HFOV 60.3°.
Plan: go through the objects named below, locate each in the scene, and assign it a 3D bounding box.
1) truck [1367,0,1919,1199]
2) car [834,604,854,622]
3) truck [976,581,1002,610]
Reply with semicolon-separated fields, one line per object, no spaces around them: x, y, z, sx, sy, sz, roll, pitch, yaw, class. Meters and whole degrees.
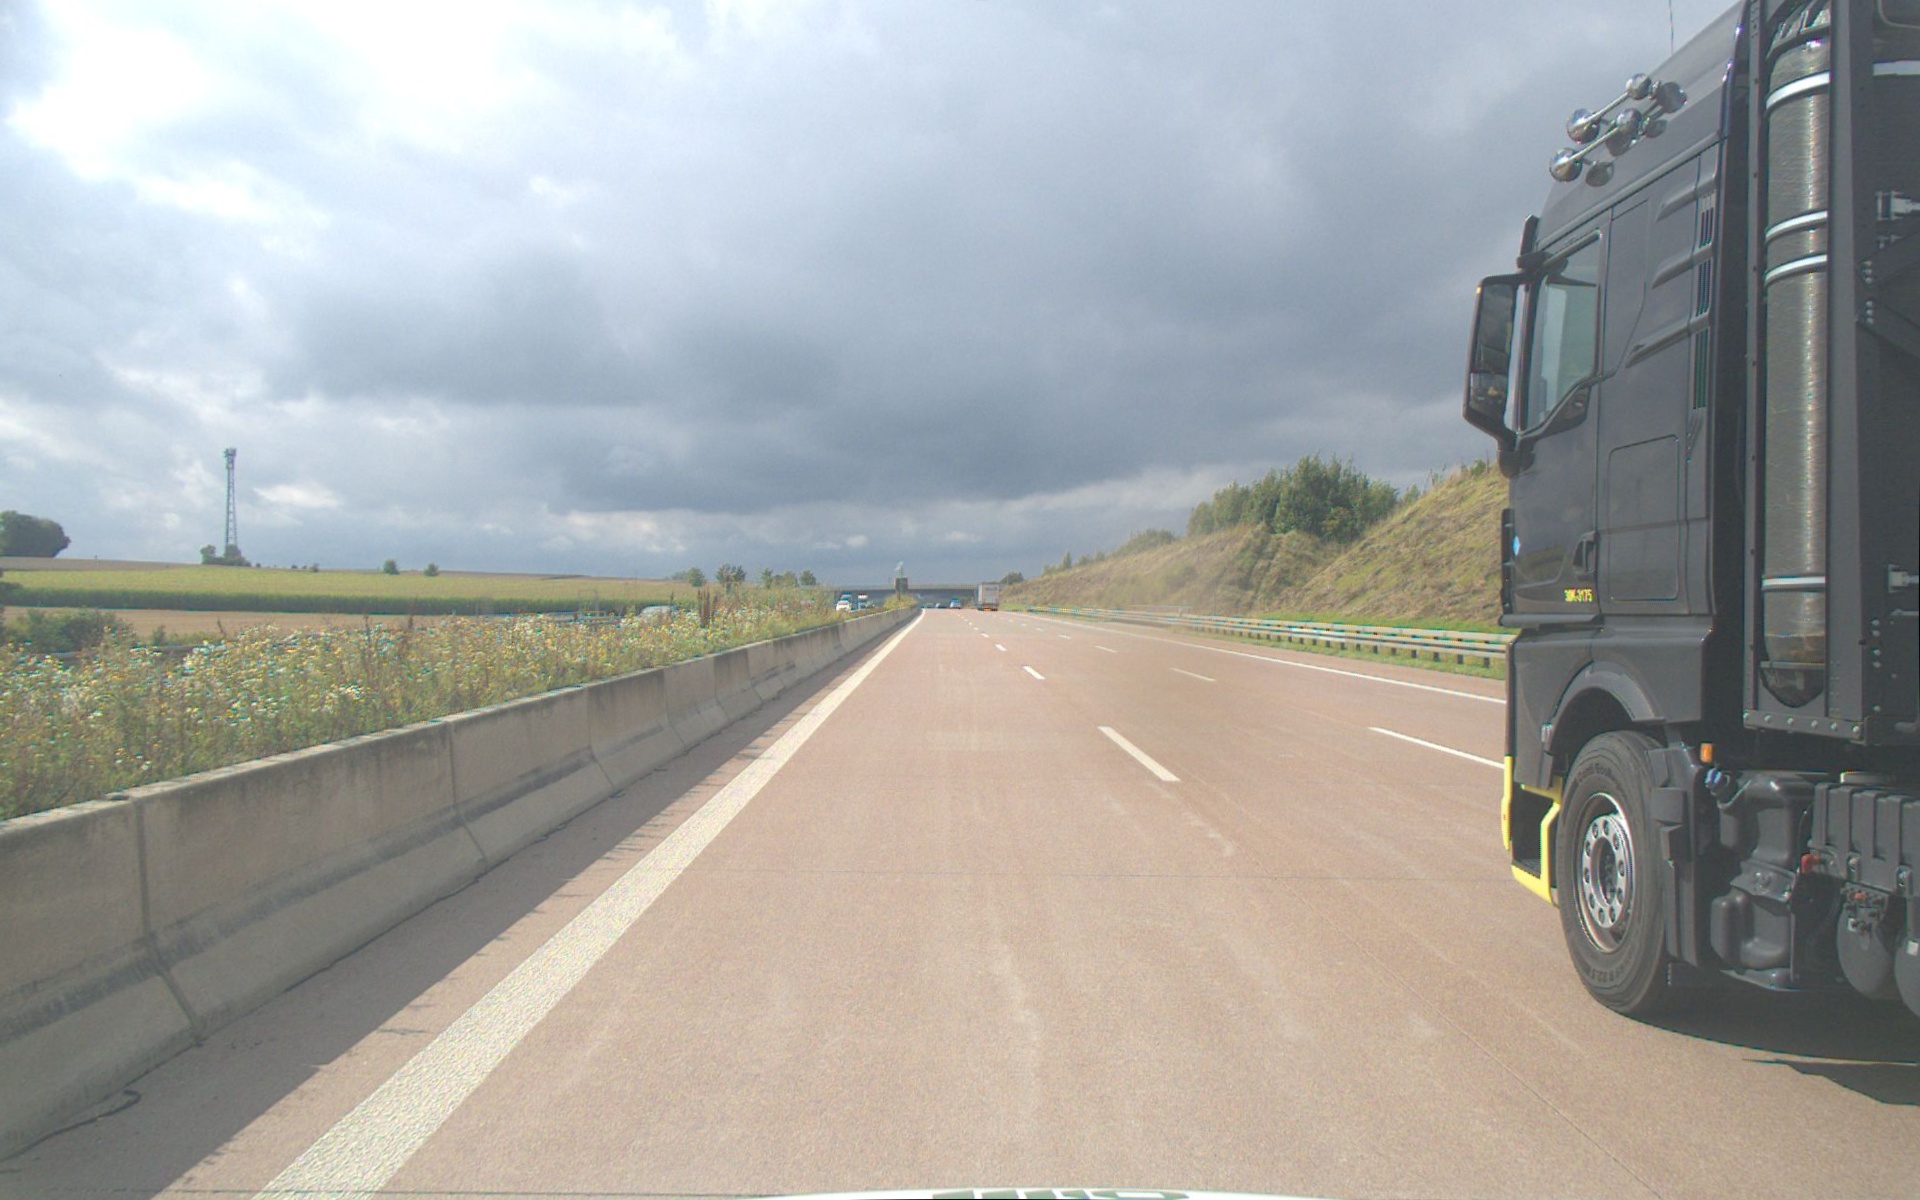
3.725;-0.292;4.639;2.790;3.612;8.315;1;0;-2;truck
-14.098;1.540;200.901;1.952;2.106;4.712;-1;0;1;car
4.212;-0.685;244.641;3.543;4.014;11.173;2;0;0;truck
